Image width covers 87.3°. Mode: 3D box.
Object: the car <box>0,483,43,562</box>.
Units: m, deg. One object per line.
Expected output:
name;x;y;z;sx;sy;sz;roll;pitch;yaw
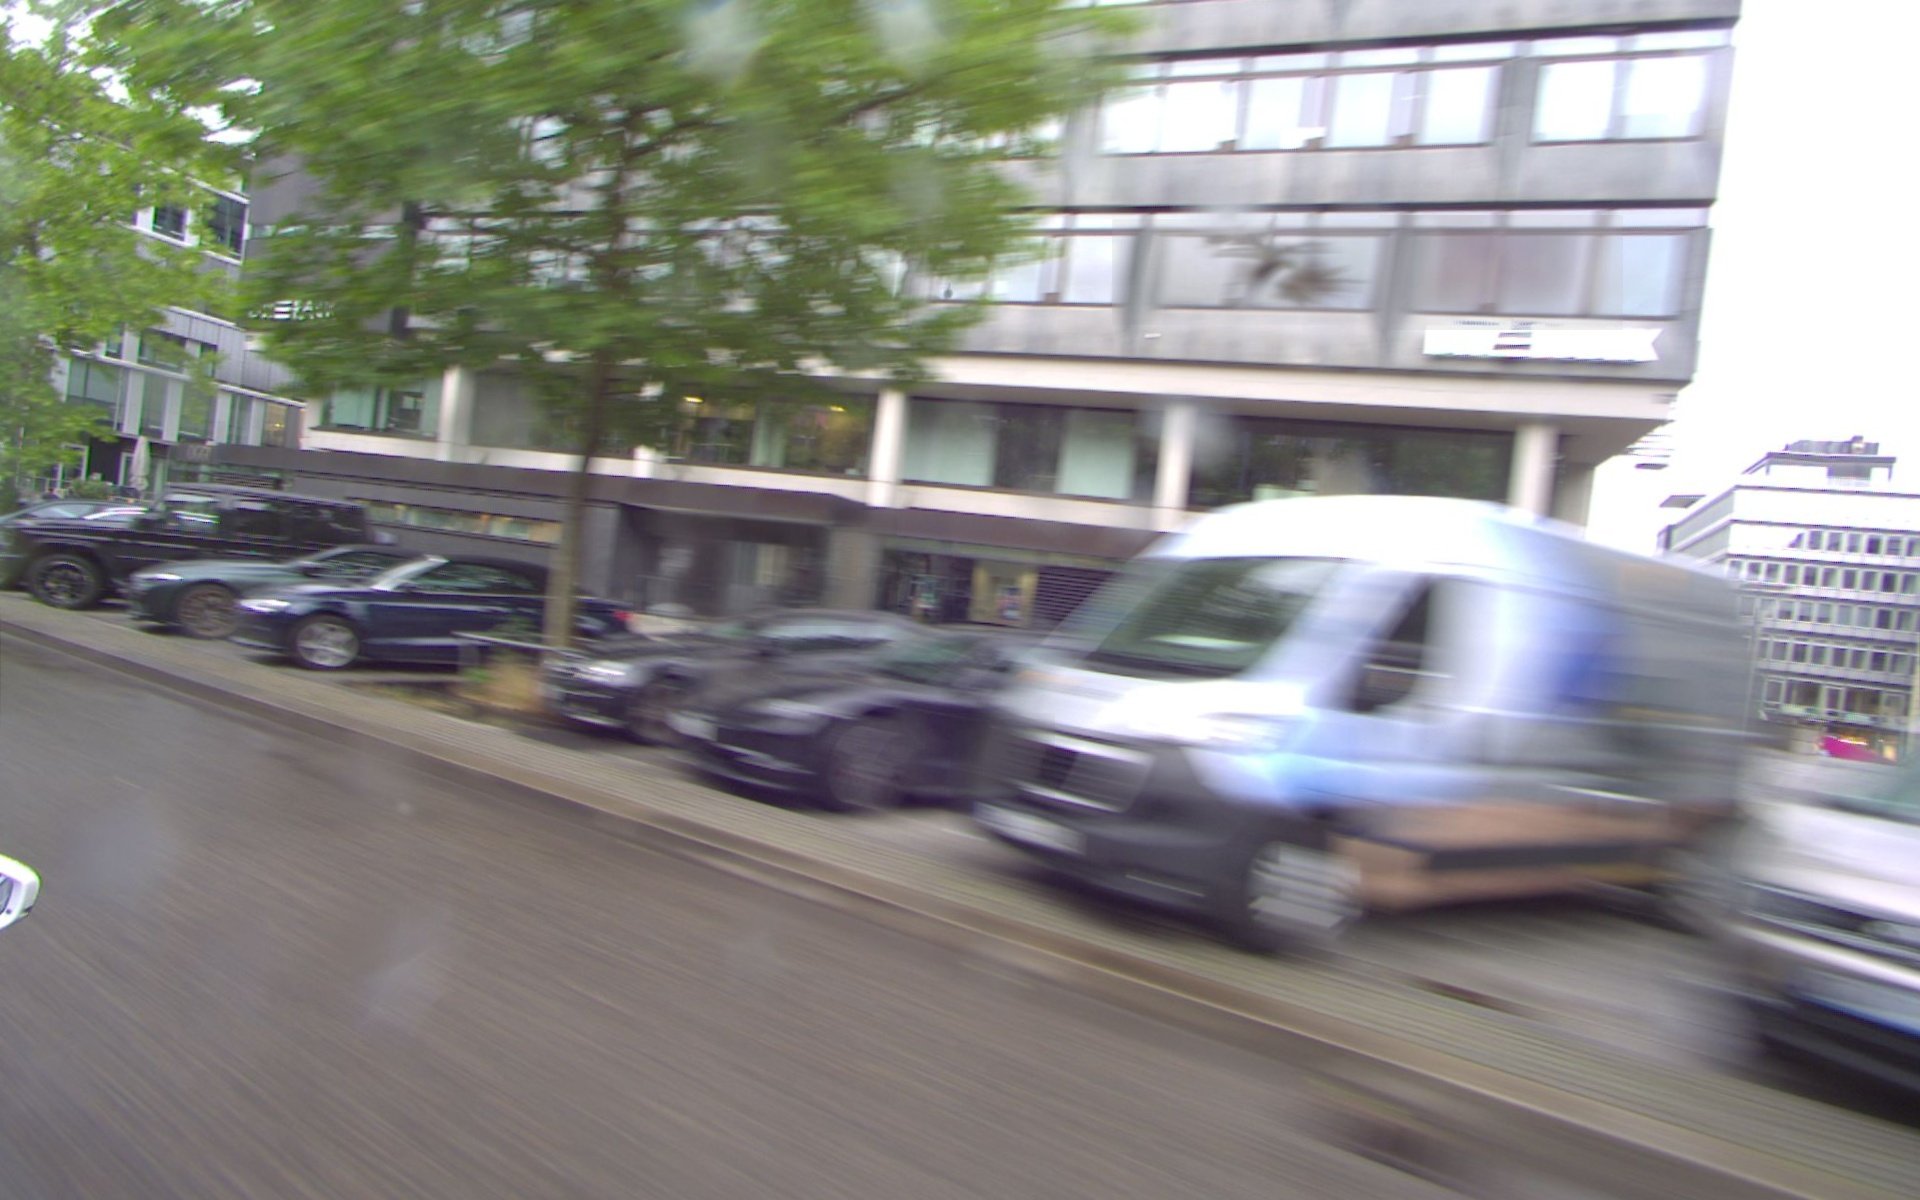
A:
car;-23.049;-1.950;21.885;4.186;1.690;1.824;7;0;-31

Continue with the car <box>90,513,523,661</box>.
car;-8.615;-0.120;13.762;4.586;1.411;1.834;7;-1;-30

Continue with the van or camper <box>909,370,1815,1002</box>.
van or camper;2.921;0.664;6.559;6.022;2.589;2.088;8;-1;-31

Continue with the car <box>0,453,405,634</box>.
car;-11.326;-0.764;15.226;4.902;2.003;1.913;7;0;-32

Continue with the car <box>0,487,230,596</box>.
car;-16.260;-1.128;18.131;4.759;1.553;1.846;7;0;-44

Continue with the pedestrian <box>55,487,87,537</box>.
pedestrian;-33.524;-3.327;37.929;0.905;1.808;0.665;6;3;34

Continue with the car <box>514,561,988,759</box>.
car;-1.980;0.636;9.973;4.171;1.453;1.706;8;-1;-32

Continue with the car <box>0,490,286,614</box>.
car;-13.835;-0.806;16.480;4.524;1.525;1.852;7;0;-34

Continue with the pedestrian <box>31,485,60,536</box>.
pedestrian;-34.068;-3.343;37.470;0.759;1.807;0.639;6;3;37

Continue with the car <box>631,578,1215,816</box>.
car;-0.207;0.847;8.335;4.358;1.453;1.925;8;-1;-32

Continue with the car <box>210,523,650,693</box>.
car;-6.232;0.156;12.200;4.335;1.453;1.747;8;-1;-32

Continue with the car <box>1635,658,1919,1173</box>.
car;5.155;1.391;4.565;4.228;1.687;1.803;9;-2;-32

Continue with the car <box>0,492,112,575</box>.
car;-20.293;-1.528;20.455;4.258;1.507;1.829;7;0;-29
